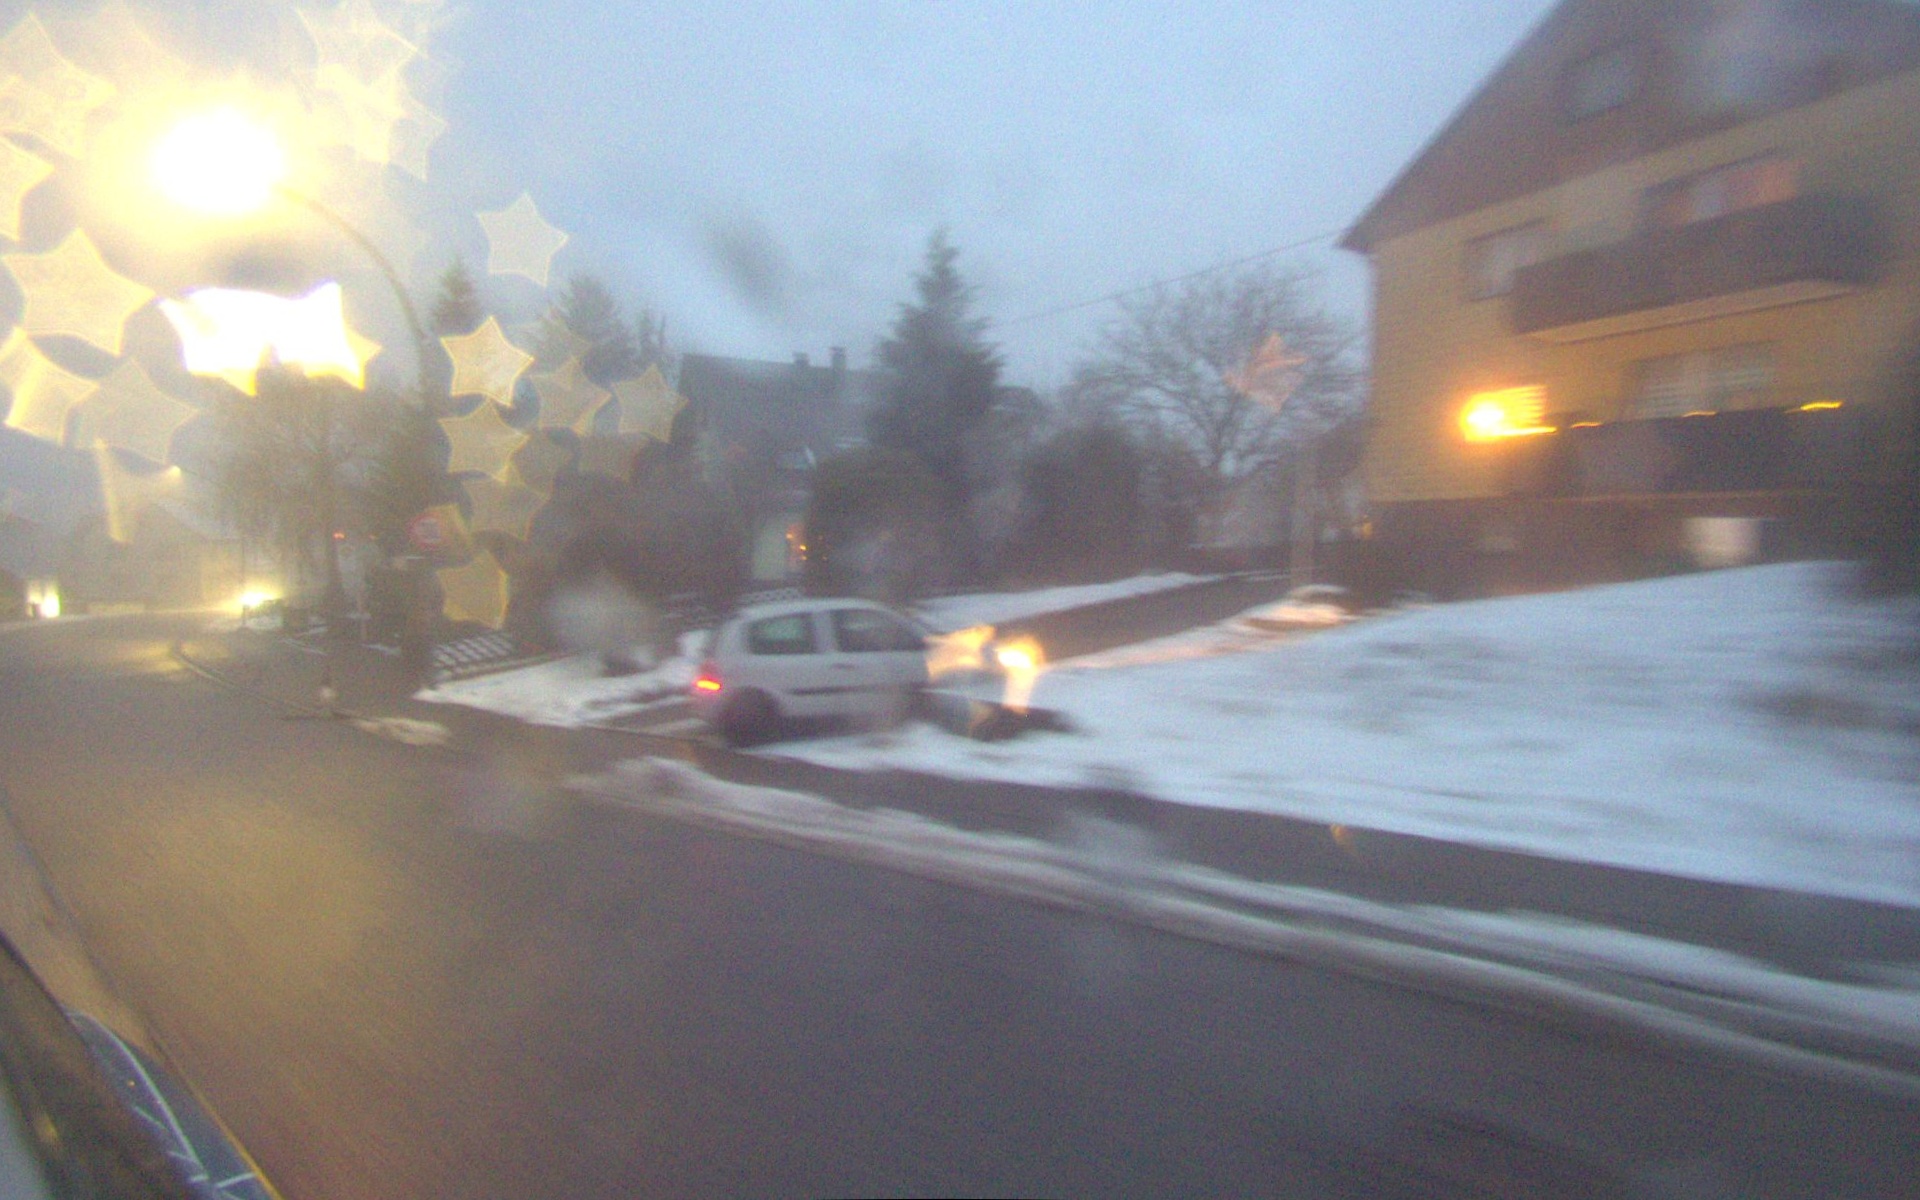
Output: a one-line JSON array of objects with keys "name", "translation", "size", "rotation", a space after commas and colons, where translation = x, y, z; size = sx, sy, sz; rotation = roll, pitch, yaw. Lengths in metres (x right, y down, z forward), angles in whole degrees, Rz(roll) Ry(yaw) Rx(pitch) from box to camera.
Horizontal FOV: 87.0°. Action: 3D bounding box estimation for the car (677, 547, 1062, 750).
[{"name": "car", "translation": [-1.083, 0.417, 11.464], "size": [3.934, 1.620, 1.909], "rotation": [-6, 6, -14]}]
